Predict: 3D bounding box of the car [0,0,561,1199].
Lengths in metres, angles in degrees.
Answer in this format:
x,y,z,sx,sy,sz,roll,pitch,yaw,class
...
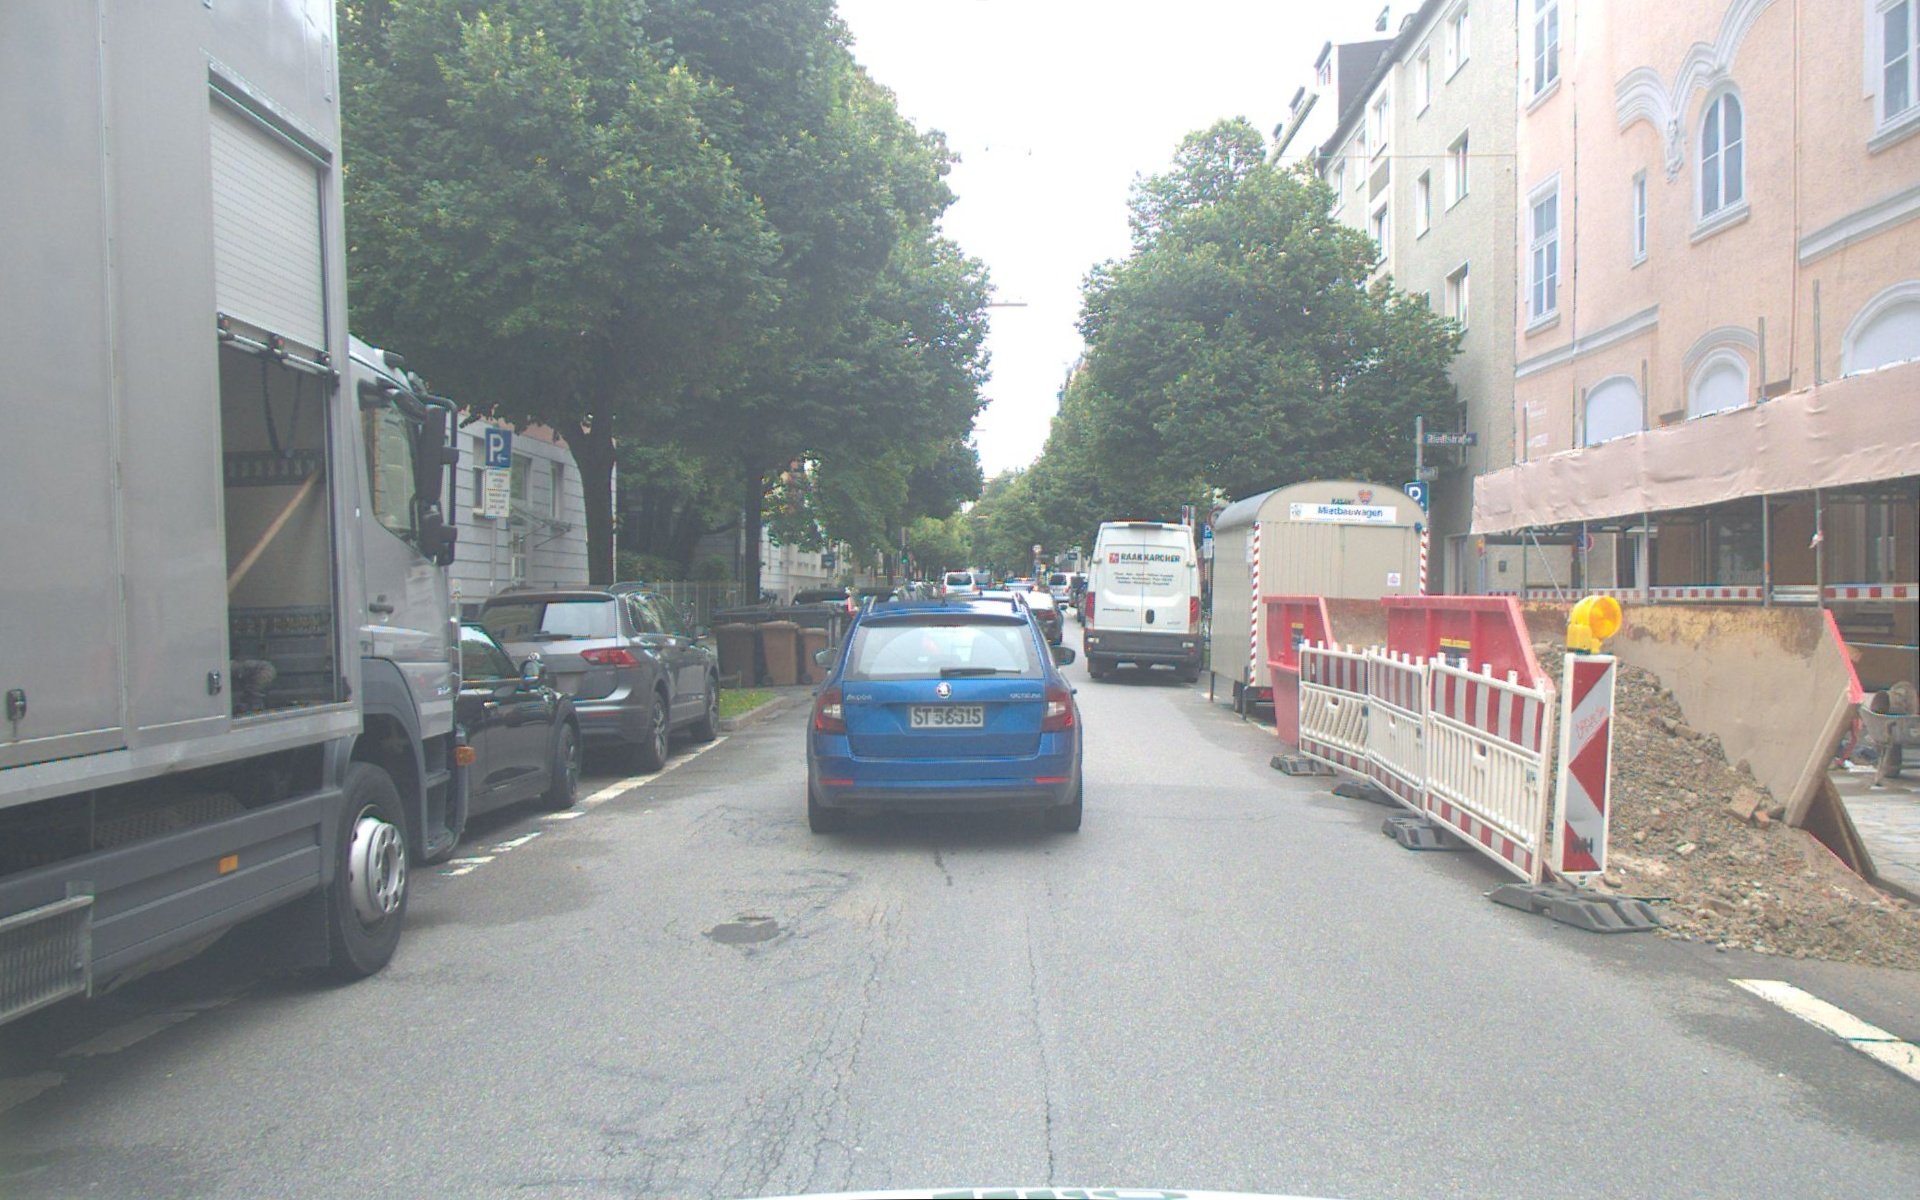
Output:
x,y,z,sx,sy,sz,roll,pitch,yaw,class
-3.473,-0.468,3.995,2.754,3.884,8.724,0,0,1,car

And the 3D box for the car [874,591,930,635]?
x,y,z,sx,sy,sz,roll,pitch,yaw,class
-2.040,0.432,59.562,1.775,1.504,4.001,1,0,1,car

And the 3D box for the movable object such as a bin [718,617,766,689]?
x,y,z,sx,sy,sz,roll,pitch,yaw,class
-3.688,0.888,28.012,0.706,1.158,0.658,-2,0,-2,movable object such as a bin

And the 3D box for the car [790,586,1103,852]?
x,y,z,sx,sy,sz,roll,pitch,yaw,class
0.014,0.668,11.454,1.752,1.486,4.316,0,0,2,car

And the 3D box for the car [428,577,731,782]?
x,y,z,sx,sy,sz,roll,pitch,yaw,class
-3.412,0.640,15.664,1.748,1.657,4.186,-1,0,2,car

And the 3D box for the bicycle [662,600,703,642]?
x,y,z,sx,sy,sz,roll,pitch,yaw,class
-7.585,0.563,45.217,0.621,1.086,2.388,-1,0,2,bicycle

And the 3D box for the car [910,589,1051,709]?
x,y,z,sx,sy,sz,roll,pitch,yaw,class
0.311,0.602,22.006,1.705,1.446,3.665,1,0,2,car

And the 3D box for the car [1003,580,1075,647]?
x,y,z,sx,sy,sz,roll,pitch,yaw,class
2.156,0.339,46.009,1.829,1.726,4.348,1,1,1,car

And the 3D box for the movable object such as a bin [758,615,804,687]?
x,y,z,sx,sy,sz,roll,pitch,yaw,class
-3.033,0.865,28.059,0.697,1.168,0.636,-2,0,-2,movable object such as a bin

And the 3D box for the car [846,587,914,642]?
x,y,z,sx,sy,sz,roll,pitch,yaw,class
-2.254,0.389,47.520,1.775,1.504,4.000,1,0,-1,car

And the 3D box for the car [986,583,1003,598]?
x,y,z,sx,sy,sz,roll,pitch,yaw,class
4.202,-1.172,201.551,1.829,1.770,4.346,-1,0,-1,car

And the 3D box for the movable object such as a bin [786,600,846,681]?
x,y,z,sx,sy,sz,roll,pitch,yaw,class
-2.601,0.718,30.066,1.000,1.400,1.103,-2,0,-3,movable object such as a bin

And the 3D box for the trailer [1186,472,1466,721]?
x,y,z,sx,sy,sz,roll,pitch,yaw,class
4.787,-0.031,22.962,2.450,2.889,6.902,1,0,1,trailer

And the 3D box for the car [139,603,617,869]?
x,y,z,sx,sy,sz,roll,pitch,yaw,class
-3.558,0.746,10.857,1.663,1.434,3.710,-1,0,3,car

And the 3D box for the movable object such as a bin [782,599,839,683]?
x,y,z,sx,sy,sz,roll,pitch,yaw,class
-2.612,0.708,28.968,0.899,1.400,1.079,-2,0,-3,movable object such as a bin

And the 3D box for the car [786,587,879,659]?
x,y,z,sx,sy,sz,roll,pitch,yaw,class
-2.784,0.469,36.792,1.775,1.504,4.000,1,0,-1,car

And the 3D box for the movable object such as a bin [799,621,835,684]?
x,y,z,sx,sy,sz,roll,pitch,yaw,class
-2.426,0.886,28.111,0.535,1.038,0.636,-2,0,-2,movable object such as a bin

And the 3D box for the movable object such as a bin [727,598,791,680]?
x,y,z,sx,sy,sz,roll,pitch,yaw,class
-3.636,0.694,29.999,1.036,1.400,1.095,-2,0,-3,movable object such as a bin

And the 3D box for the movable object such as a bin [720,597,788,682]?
x,y,z,sx,sy,sz,roll,pitch,yaw,class
-3.589,0.675,28.898,1.060,1.400,1.083,-2,0,-3,movable object such as a bin

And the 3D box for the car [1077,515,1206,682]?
x,y,z,sx,sy,sz,roll,pitch,yaw,class
3.328,-0.011,30.081,2.068,2.710,5.504,1,0,7,car

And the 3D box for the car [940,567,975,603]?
x,y,z,sx,sy,sz,roll,pitch,yaw,class
-0.146,-0.861,92.387,1.829,1.902,4.347,1,1,0,car
